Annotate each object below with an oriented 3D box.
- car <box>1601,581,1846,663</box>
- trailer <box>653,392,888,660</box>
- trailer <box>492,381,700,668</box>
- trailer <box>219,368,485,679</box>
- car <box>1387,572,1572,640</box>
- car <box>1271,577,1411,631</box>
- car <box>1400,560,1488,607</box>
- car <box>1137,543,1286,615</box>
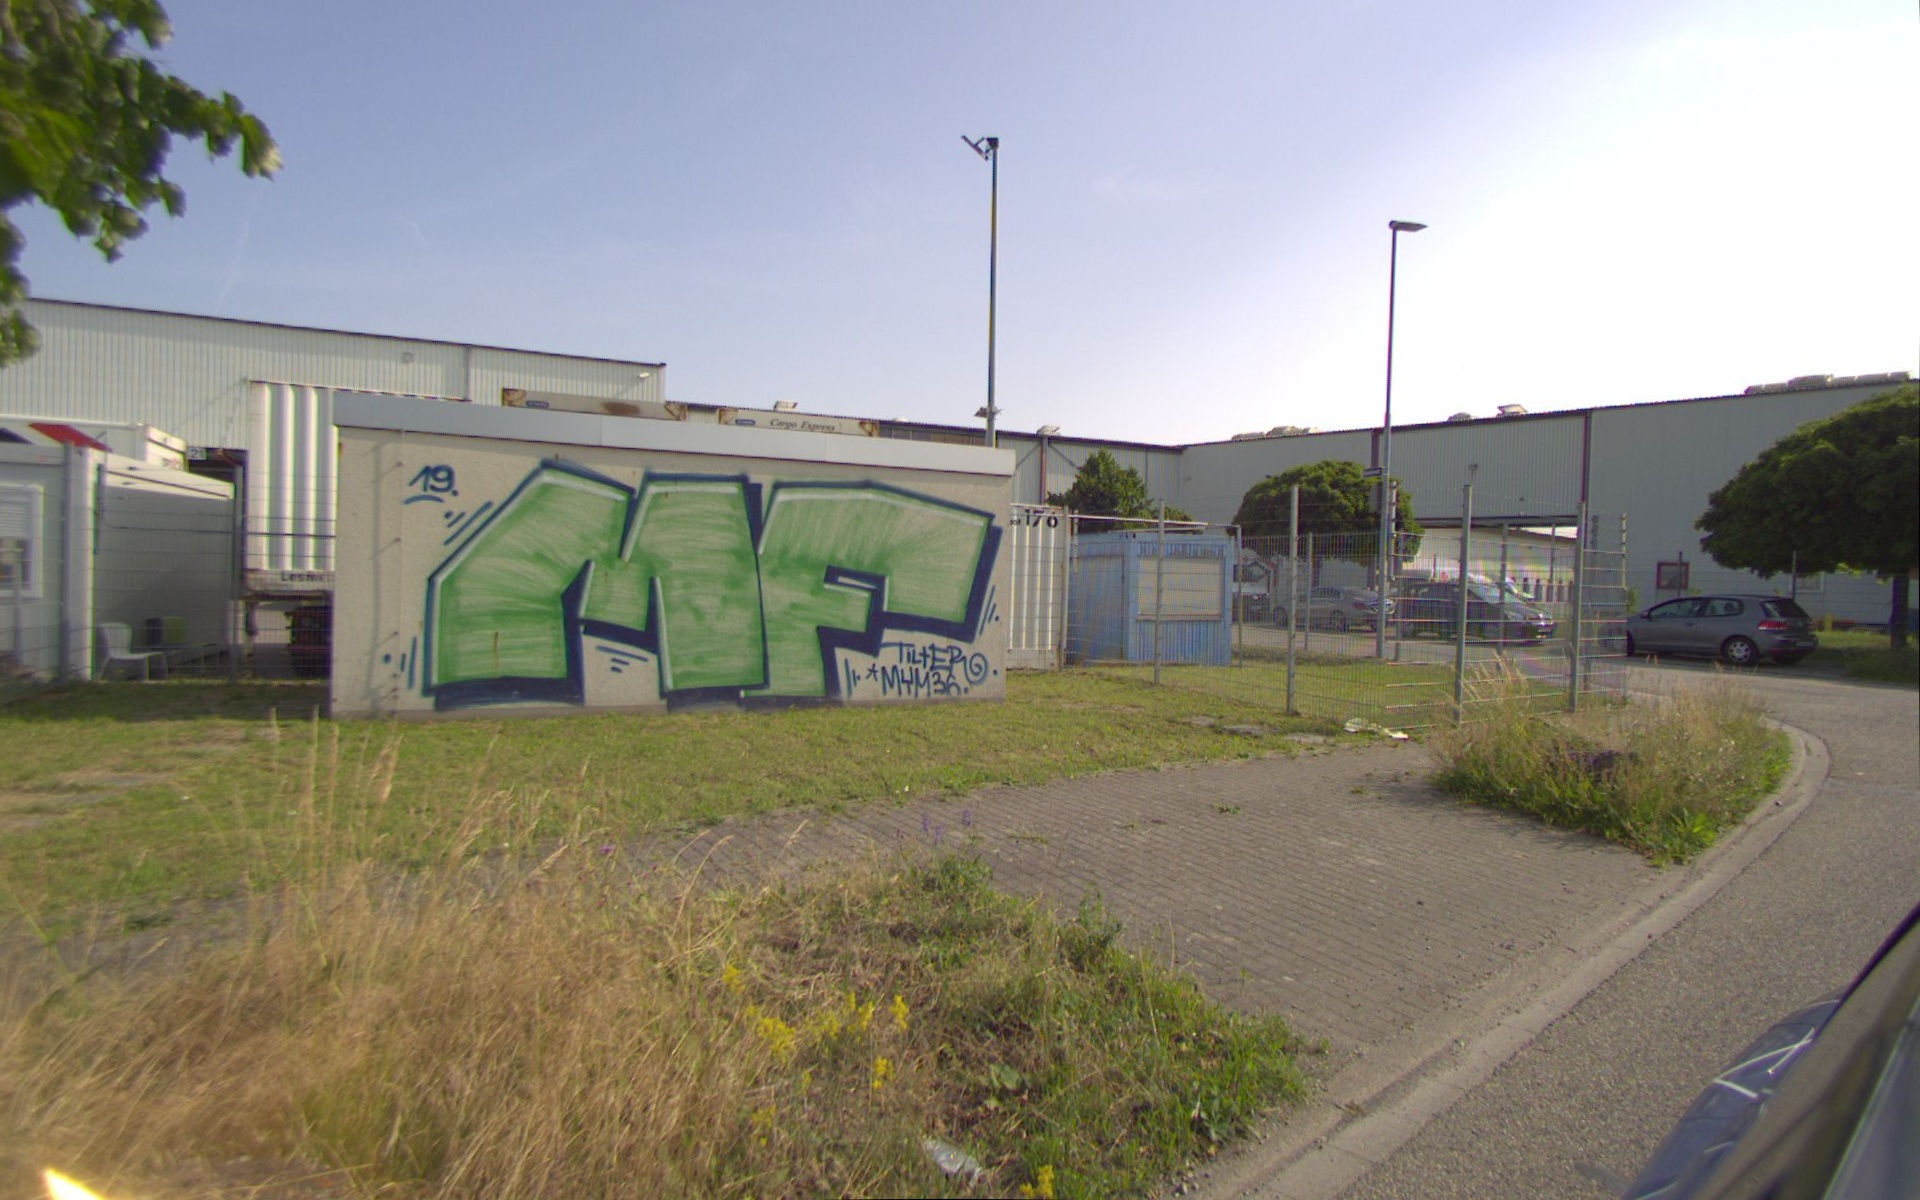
[{"bbox_3d":[16.560,0.388,22.193,1.692,1.542,3.970,-2,2,-22],"label":"car"},{"bbox_3d":[-4.029,-1.243,19.386,2.718,3.941,8.583,-1,2,-22],"label":"trailer"},{"bbox_3d":[-6.796,-1.202,18.379,2.717,3.941,8.584,1,2,-23],"label":"trailer"},{"bbox_3d":[-9.580,-1.018,16.944,2.732,3.808,8.777,1,1,-24],"label":"trailer"},{"bbox_3d":[13.967,0.162,27.497,1.838,1.646,4.276,2,-1,-22],"label":"car"},{"bbox_3d":[12.232,0.078,32.819,1.692,1.536,4.502,-2,2,-20],"label":"car"},{"bbox_3d":[27.852,-0.938,58.156,6.586,2.548,2.171,0,2,-42],"label":"car"},{"bbox_3d":[9.582,-0.864,39.370,2.161,2.513,6.864,-1,2,-20],"label":"car"}]
